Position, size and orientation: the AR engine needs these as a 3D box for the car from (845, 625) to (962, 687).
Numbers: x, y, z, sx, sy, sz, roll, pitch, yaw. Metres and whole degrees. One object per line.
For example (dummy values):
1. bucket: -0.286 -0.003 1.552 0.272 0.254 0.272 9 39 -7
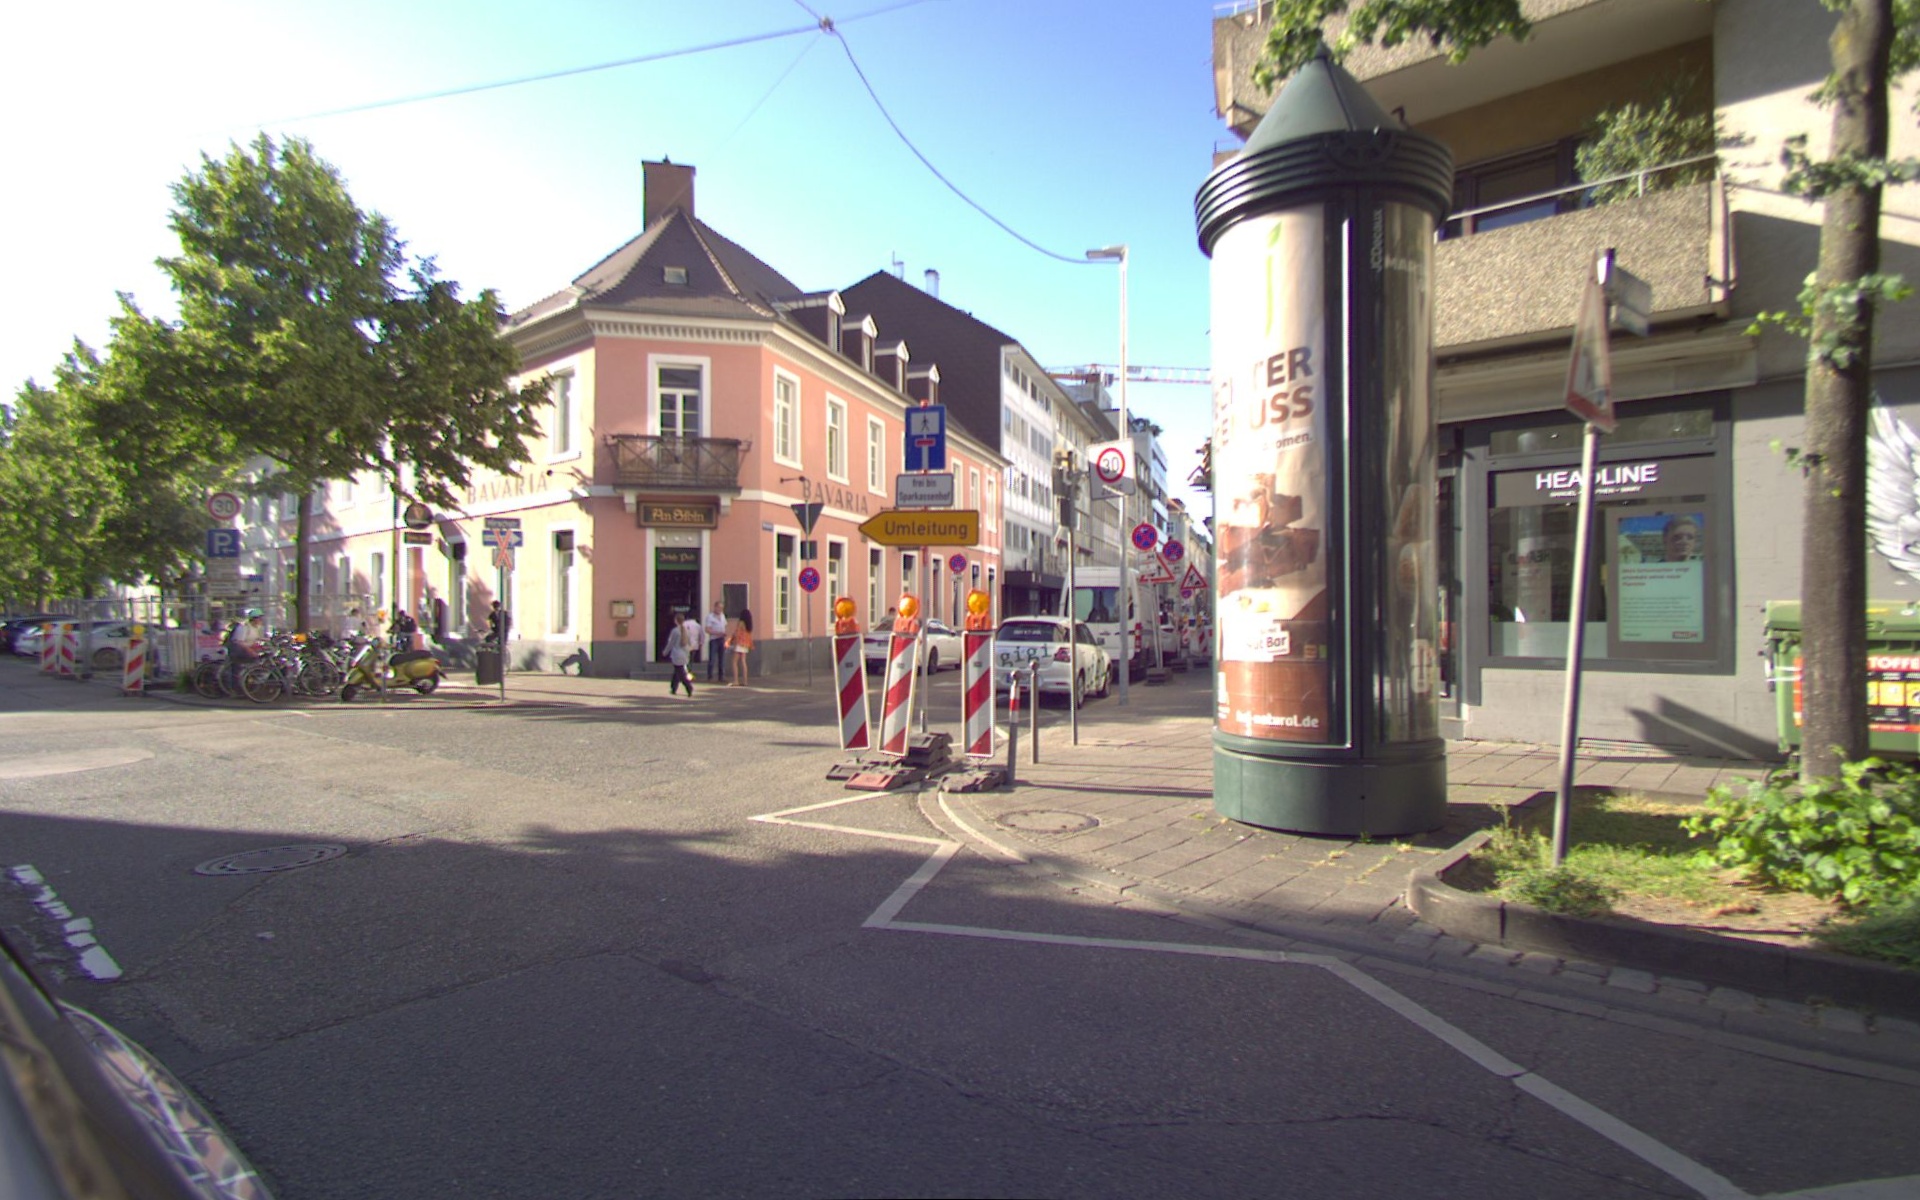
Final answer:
1. car: -1.418 1.430 26.846 1.983 1.488 3.583 -1 -1 17

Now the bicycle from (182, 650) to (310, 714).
1. bicycle: -13.498 1.523 19.201 0.471 1.037 1.987 -1 0 28

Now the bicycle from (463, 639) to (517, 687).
1. bicycle: -11.269 1.499 24.251 1.651 1.096 0.563 -3 -3 41

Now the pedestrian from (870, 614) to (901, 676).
1. pedestrian: -2.151 1.278 29.127 0.701 1.764 0.631 -1 -1 18

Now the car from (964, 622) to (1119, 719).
1. car: 1.527 1.140 17.650 1.889 1.488 3.580 -1 -1 18

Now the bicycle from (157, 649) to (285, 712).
1. bicycle: -14.300 1.532 19.643 0.471 1.037 1.987 -1 0 28

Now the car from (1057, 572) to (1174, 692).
1. car: 4.057 0.779 25.368 2.204 2.601 6.475 -1 -1 15

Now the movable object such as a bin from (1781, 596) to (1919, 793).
1. movable object such as a bin: 7.403 0.715 8.064 1.258 1.471 1.022 -2 -2 42

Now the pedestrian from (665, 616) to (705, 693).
1. pedestrian: -6.042 1.189 22.278 0.698 1.675 0.579 -1 -1 4

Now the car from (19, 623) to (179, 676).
1. car: -30.470 1.707 35.904 1.998 1.693 4.082 -1 -1 40

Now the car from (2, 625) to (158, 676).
1. car: -32.419 1.795 37.364 1.998 1.693 4.082 -1 -1 40

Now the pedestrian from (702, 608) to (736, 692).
1. pedestrian: -5.347 1.103 22.480 0.572 1.826 0.630 -1 -1 2

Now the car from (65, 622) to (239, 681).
1. car: -26.026 1.603 32.699 1.998 1.693 4.082 -1 -1 40

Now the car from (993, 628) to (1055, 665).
1. car: 2.604 1.835 40.510 1.765 1.406 3.493 -1 -1 17

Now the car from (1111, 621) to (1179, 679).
1. car: 5.779 1.501 31.309 1.886 1.656 3.770 -1 -1 13

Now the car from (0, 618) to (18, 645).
1. car: -68.267 2.212 70.183 1.910 1.816 4.082 -1 -1 40

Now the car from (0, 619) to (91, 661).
1. car: -42.493 1.794 46.172 1.910 1.816 4.082 -1 -1 40

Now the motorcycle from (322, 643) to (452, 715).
1. motorcycle: -10.656 1.436 18.871 0.740 1.194 1.977 -2 -1 43

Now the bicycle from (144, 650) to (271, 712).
1. bicycle: -14.738 1.562 19.882 0.471 1.037 1.987 -1 0 28

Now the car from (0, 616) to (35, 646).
1. car: -58.687 1.897 61.040 1.910 1.816 4.082 -1 -1 40

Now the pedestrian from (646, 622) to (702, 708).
1. pedestrian: -5.538 1.241 19.604 0.862 1.614 0.641 -2 -1 41

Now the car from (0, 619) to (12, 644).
1. car: -70.589 2.301 72.226 1.910 1.816 4.082 -1 -1 40

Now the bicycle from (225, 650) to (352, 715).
1. bicycle: -12.512 1.508 18.927 0.471 1.037 1.987 -1 0 28

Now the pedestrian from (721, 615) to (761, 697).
1. pedestrian: -4.749 1.198 21.954 0.579 1.740 0.622 -2 -2 38

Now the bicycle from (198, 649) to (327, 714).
1. bicycle: -13.044 1.505 18.986 0.471 1.037 1.987 -1 0 28

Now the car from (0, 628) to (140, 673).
1. car: -35.979 1.999 40.930 1.910 1.606 4.082 -1 -1 40

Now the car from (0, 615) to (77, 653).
1. car: -48.015 1.728 51.757 1.910 1.816 4.082 -1 -1 40

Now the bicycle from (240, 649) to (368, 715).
1. bicycle: -12.045 1.484 18.665 0.471 1.037 1.987 -1 0 28

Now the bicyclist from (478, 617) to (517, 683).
1. bicyclist: -10.959 1.162 23.988 0.751 1.515 0.563 1 0 41

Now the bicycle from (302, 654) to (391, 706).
1. bicycle: -12.249 1.584 20.233 1.493 0.958 0.360 -1 0 -8

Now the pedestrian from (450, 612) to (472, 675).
1. pedestrian: -14.136 1.226 28.647 0.509 1.740 0.526 0 -2 -32

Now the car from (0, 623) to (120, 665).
1. car: -38.448 1.826 42.904 1.910 1.606 4.082 -1 -1 40

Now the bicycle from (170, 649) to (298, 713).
1. bicycle: -13.879 1.523 19.406 0.471 1.037 1.987 -1 0 28
